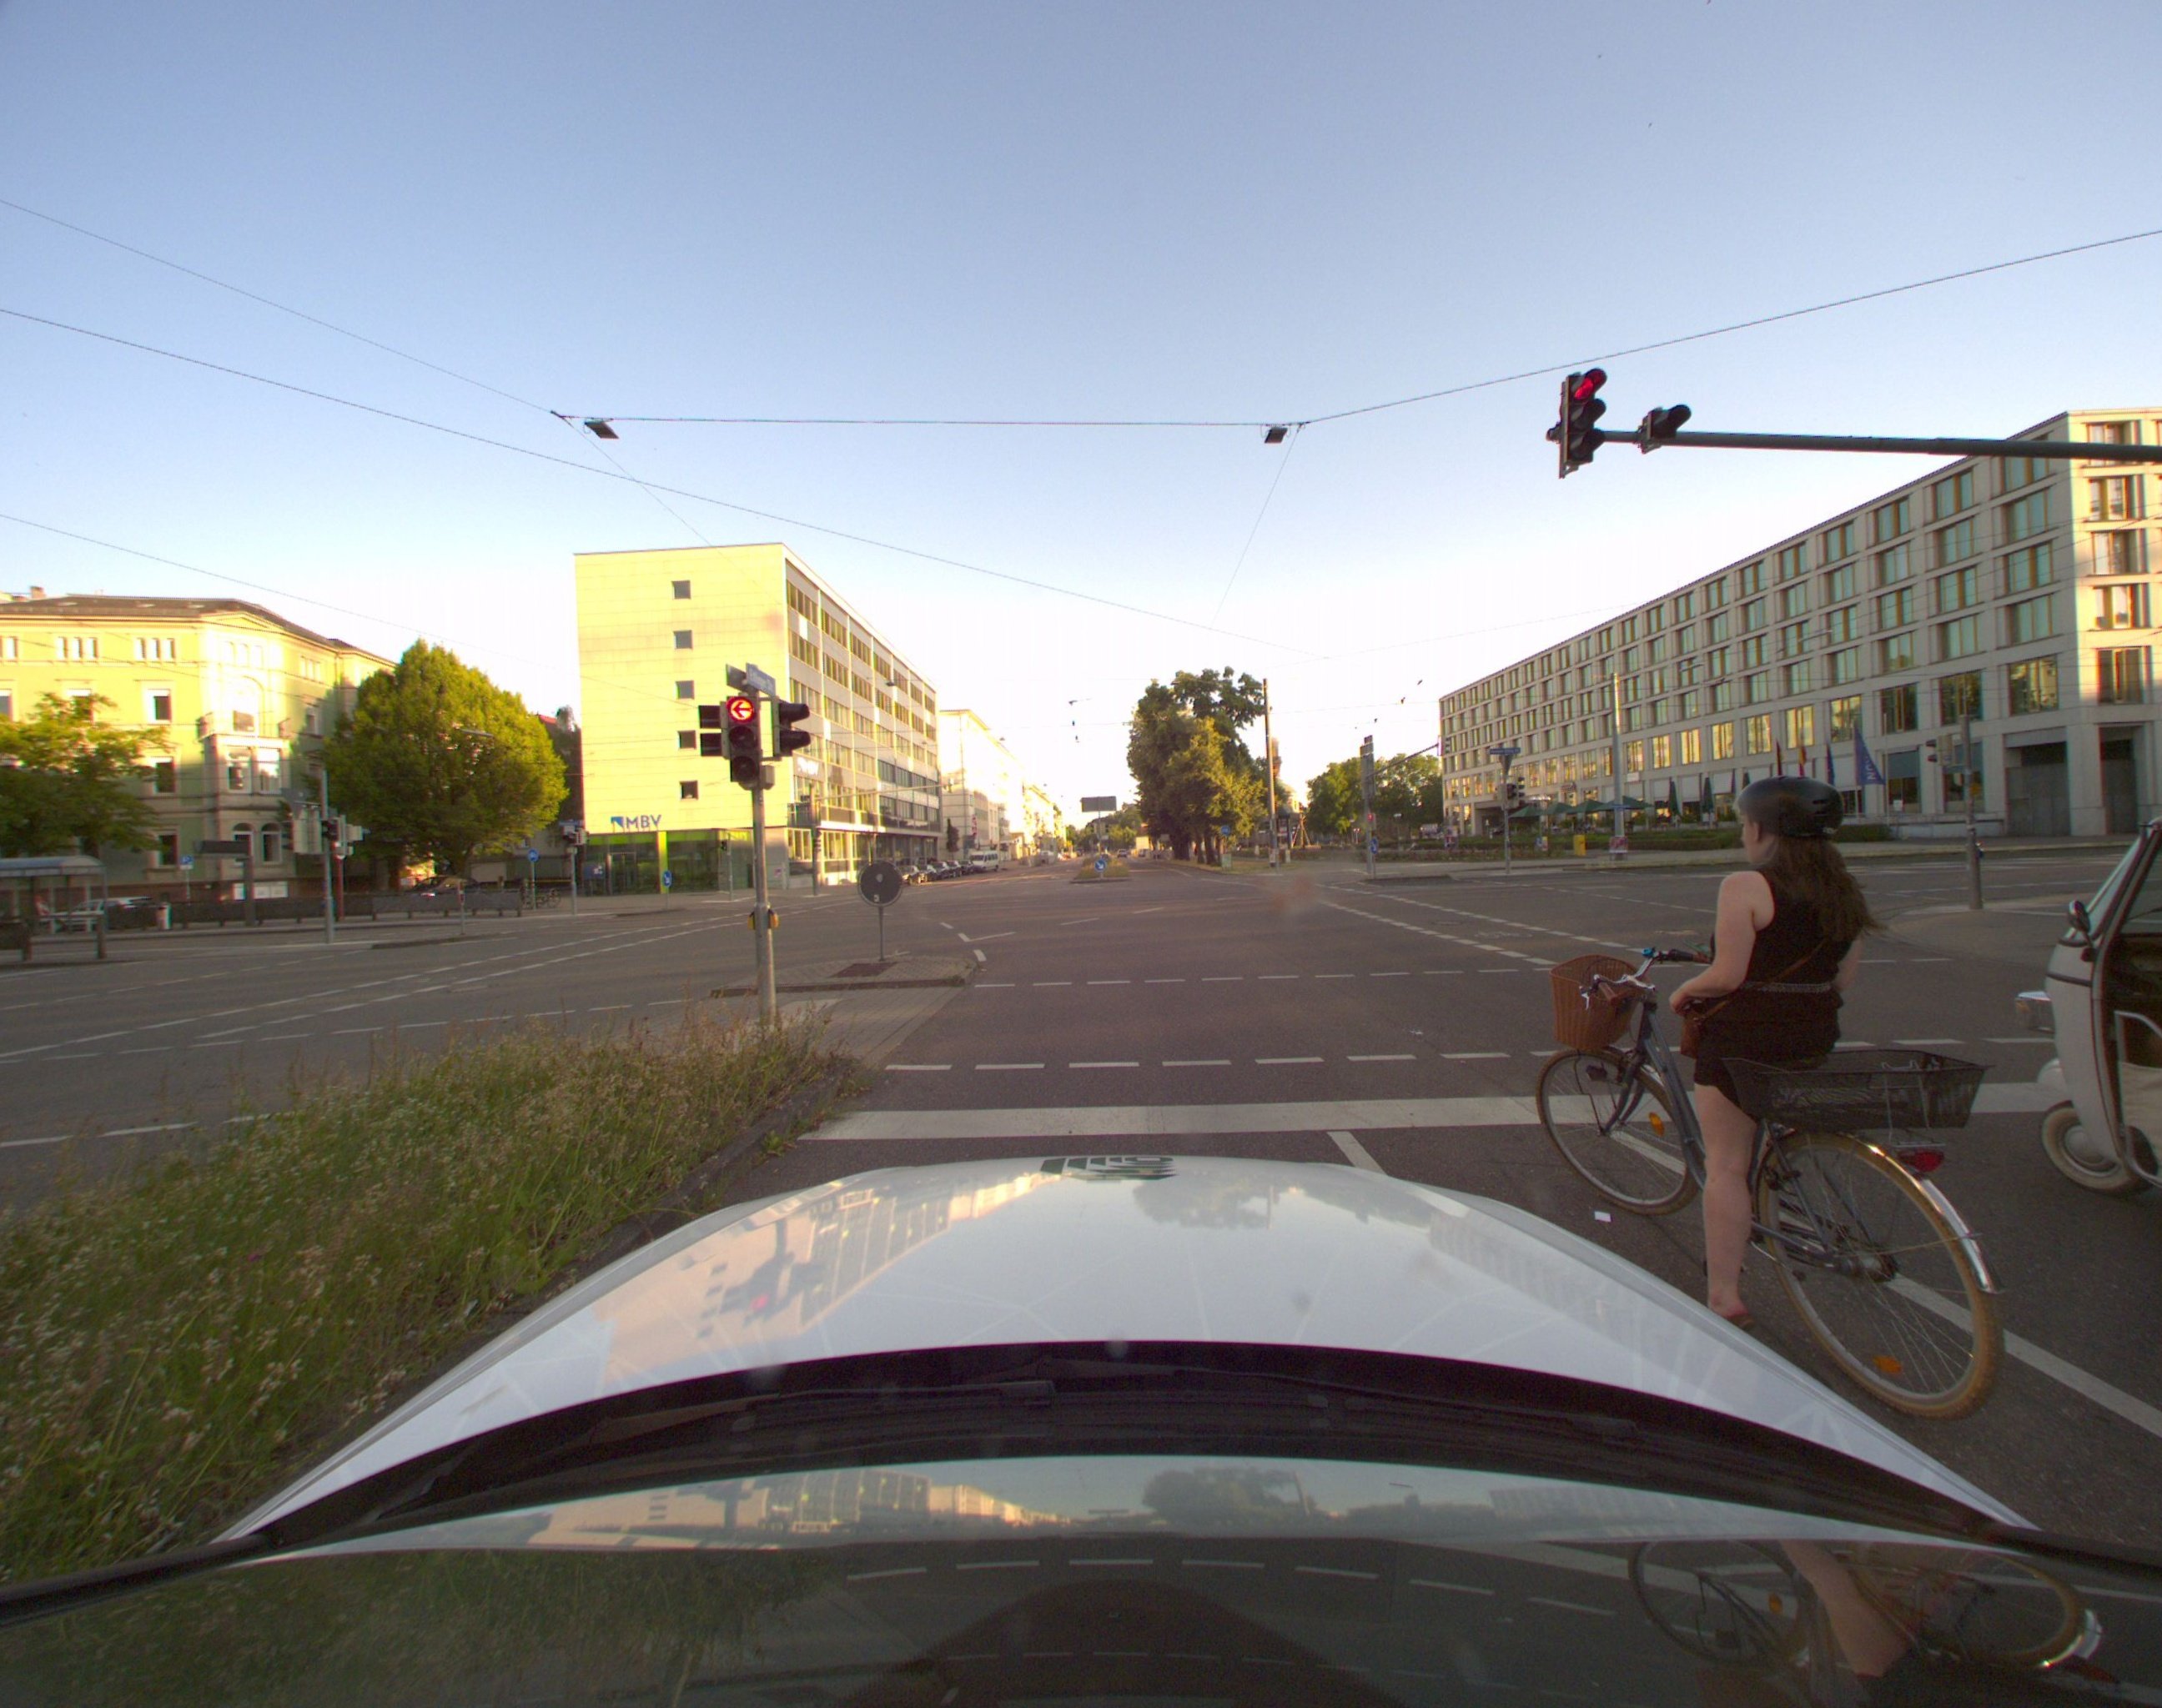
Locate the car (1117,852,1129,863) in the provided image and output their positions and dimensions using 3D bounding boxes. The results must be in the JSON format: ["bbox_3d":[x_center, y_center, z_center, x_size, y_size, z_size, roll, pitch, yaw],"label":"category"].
[{"bbox_3d":[7.847,0.589,151.702,1.986,2.013,4.001,-3,0,1],"label":"car"}]

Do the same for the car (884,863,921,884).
[{"bbox_3d":[-13.656,1.523,62.465,1.790,1.475,4.000,-3,-2,1],"label":"car"}]

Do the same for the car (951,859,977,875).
[{"bbox_3d":[-12.241,1.371,85.365,1.787,1.475,4.005,-3,-2,5],"label":"car"}]

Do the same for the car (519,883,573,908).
[{"bbox_3d":[-25.816,1.989,39.389,0.850,1.073,2.522,-3,0,1],"label":"car"}]

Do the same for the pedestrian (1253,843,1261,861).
[{"bbox_3d":[16.574,-0.230,76.719,0.506,1.668,0.531,-3,0,0],"label":"pedestrian"}]

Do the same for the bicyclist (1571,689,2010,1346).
[{"bbox_3d":[2.081,0.427,2.509,0.626,1.693,0.749,-3,0,1],"label":"bicyclist"}]

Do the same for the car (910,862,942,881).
[{"bbox_3d":[-13.047,1.472,68.736,1.790,1.475,4.000,-3,-2,1],"label":"car"}]

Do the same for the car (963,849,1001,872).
[{"bbox_3d":[-11.138,0.817,91.941,2.161,2.385,6.010,-3,-2,13],"label":"car"}]

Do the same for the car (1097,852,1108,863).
[{"bbox_3d":[3.956,0.594,149.119,1.986,1.816,4.001,-3,0,1],"label":"car"}]

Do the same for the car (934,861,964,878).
[{"bbox_3d":[-12.788,1.534,78.972,1.787,1.475,4.006,-3,-2,6],"label":"car"}]

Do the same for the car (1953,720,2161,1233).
[{"bbox_3d":[4.409,0.419,2.192,1.453,1.780,2.568,-2,1,4],"label":"car"}]

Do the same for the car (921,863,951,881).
[{"bbox_3d":[-13.083,1.682,73.627,1.790,1.475,4.000,-3,-3,1],"label":"car"}]

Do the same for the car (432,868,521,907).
[{"bbox_3d":[-34.949,1.904,47.217,1.986,2.013,4.001,-3,0,1],"label":"car"}]

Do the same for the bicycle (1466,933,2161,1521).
[{"bbox_3d":[2.121,0.920,2.822,0.635,1.069,2.070,-2,0,2],"label":"bicycle"}]
